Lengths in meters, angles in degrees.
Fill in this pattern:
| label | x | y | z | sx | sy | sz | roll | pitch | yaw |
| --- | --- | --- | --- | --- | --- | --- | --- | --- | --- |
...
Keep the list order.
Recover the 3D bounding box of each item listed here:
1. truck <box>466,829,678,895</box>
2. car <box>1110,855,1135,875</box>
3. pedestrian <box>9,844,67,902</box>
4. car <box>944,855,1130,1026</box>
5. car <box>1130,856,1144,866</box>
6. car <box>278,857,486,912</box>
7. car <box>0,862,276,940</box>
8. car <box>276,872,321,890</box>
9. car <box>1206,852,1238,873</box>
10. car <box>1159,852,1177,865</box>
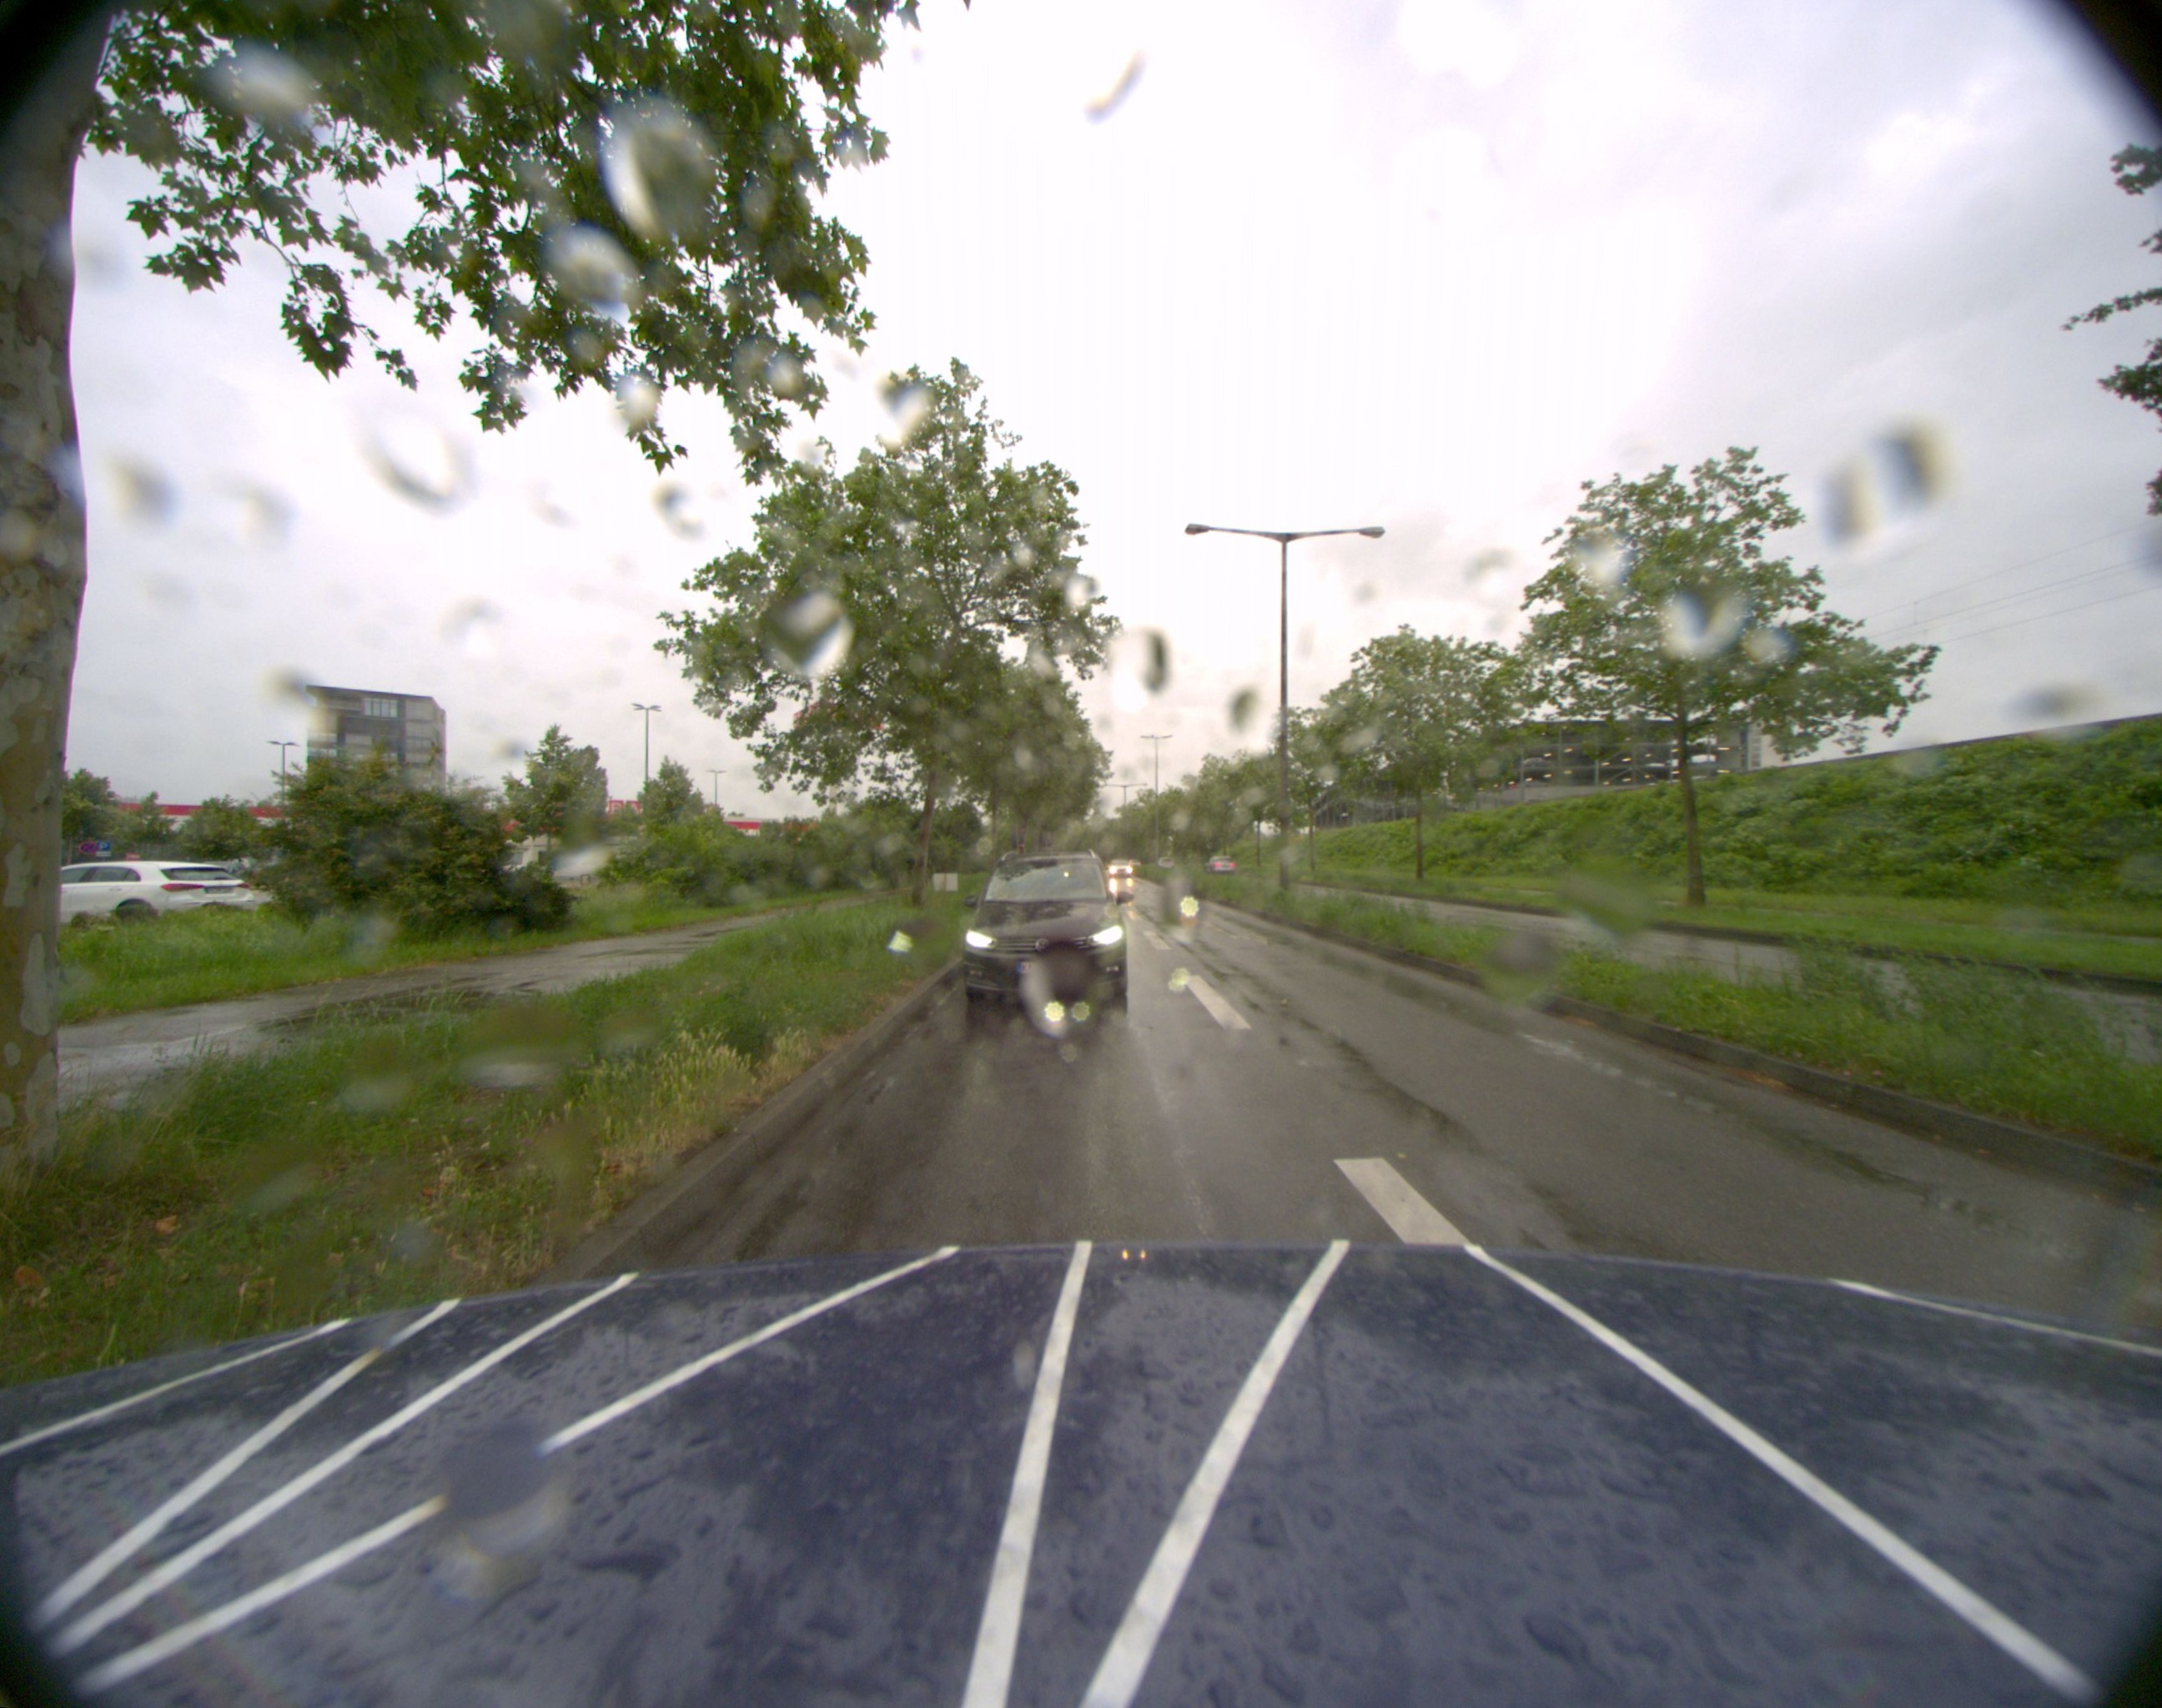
| label | x | y | z | sx | sy | sz | roll | pitch | yaw |
| --- | --- | --- | --- | --- | --- | --- | --- | --- | --- |
| truck | -19.845 | 0.274 | 29.924 | 6.552 | 2.291 | 2.219 | -2 | 1 | -6 |
| car | 3.254 | 0.877 | 60.333 | 1.729 | 1.470 | 4.000 | -2 | 0 | 1 |
| pedestrian | -32.761 | 0.589 | 23.876 | 0.704 | 1.777 | 0.799 | 0 | 0 | -4 |
| car | -0.376 | 0.865 | 9.903 | 1.788 | 1.605 | 4.717 | -2 | 0 | 2 |
| car | 8.940 | 1.122 | 122.502 | 1.936 | 1.436 | 4.657 | -1 | 0 | 0 |
| car | -20.085 | 0.856 | 21.995 | 3.998 | 1.357 | 1.999 | -2 | 1 | -3 |
| car | -19.683 | 0.930 | 15.666 | 3.998 | 1.357 | 1.867 | -2 | 1 | -3 |
| car | -67.302 | 2.300 | 65.421 | 1.864 | 1.348 | 3.866 | -1 | 0 | -33 |
| car | 11.291 | 0.639 | 61.090 | 1.861 | 1.580 | 4.519 | 1 | 0 | 1 |
| car | 10.843 | 0.549 | 94.822 | 1.861 | 1.579 | 4.518 | 0 | 0 | 1 |
